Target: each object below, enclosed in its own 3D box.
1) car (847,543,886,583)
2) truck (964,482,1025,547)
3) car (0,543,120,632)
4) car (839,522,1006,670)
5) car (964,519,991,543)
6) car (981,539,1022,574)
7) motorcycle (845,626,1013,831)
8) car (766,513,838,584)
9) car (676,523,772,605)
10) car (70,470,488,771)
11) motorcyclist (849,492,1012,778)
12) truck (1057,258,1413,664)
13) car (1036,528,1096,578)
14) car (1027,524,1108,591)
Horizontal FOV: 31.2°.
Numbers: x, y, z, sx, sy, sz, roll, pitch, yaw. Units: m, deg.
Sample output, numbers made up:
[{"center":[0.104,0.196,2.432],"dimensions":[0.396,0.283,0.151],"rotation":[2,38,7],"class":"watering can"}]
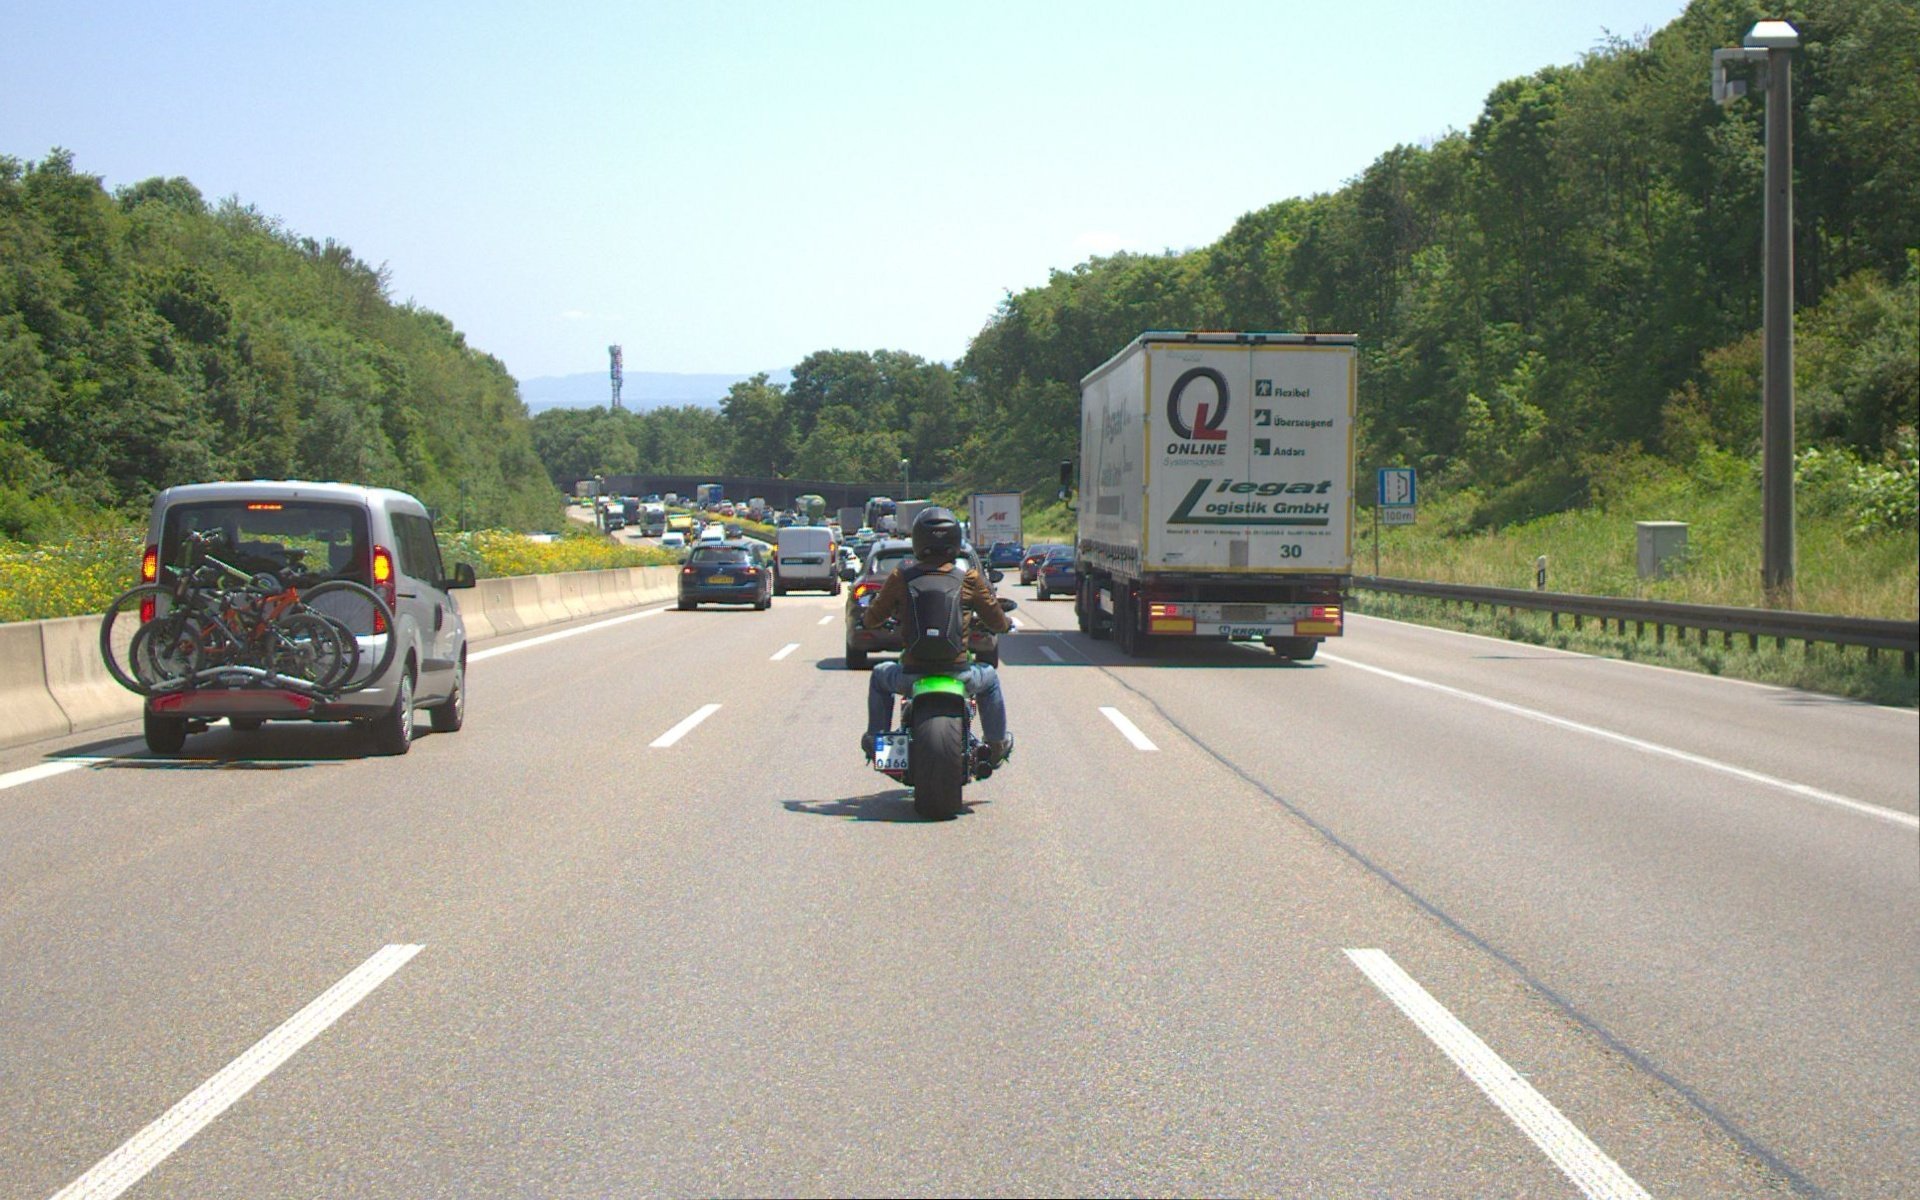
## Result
[{"center":[-4.521,-1.820,166.776],"dimensions":[1.831,1.804,4.120],"rotation":[1,2,-1],"class":"car"},{"center":[1.834,-4.700,187.371],"dimensions":[3.067,3.335,9.653],"rotation":[2,2,-1],"class":"truck"},{"center":[-19.286,-0.278,72.798],"dimensions":[1.810,1.801,4.501],"rotation":[2,0,1],"class":"car"},{"center":[-0.450,-0.096,40.671],"dimensions":[1.845,1.552,4.440],"rotation":[1,2,-1],"class":"car"},{"center":[1.246,-4.884,242.701],"dimensions":[1.831,1.553,4.120],"rotation":[1,2,-1],"class":"car"},{"center":[1.997,-2.119,165.449],"dimensions":[1.831,1.553,4.120],"rotation":[1,2,-1],"class":"car"},{"center":[-0.154,0.668,18.753],"dimensions":[0.862,0.978,2.131],"rotation":[0,1,0],"class":"motorcycle"},{"center":[-4.312,-1.434,94.192],"dimensions":[1.831,1.804,4.120],"rotation":[1,2,-1],"class":"car"},{"center":[-4.902,-0.776,71.837],"dimensions":[1.758,1.538,4.396],"rotation":[1,2,-1],"class":"car"},{"center":[-4.602,0.050,24.059],"dimensions":[1.898,1.841,5.484],"rotation":[1,2,-1],"class":"car"},{"center":[-0.154,0.174,18.706],"dimensions":[0.856,1.509,0.914],"rotation":[0,1,0],"class":"motorcyclist"},{"center":[3.504,-1.945,49.506],"dimensions":[3.383,4.701,17.711],"rotation":[2,2,-1],"class":"truck"},{"center":[3.550,-1.600,115.747],"dimensions":[1.831,1.553,4.120],"rotation":[1,2,-1],"class":"car"},{"center":[2.693,-1.098,86.745],"dimensions":[1.831,1.553,4.120],"rotation":[1,2,-1],"class":"car"}]
